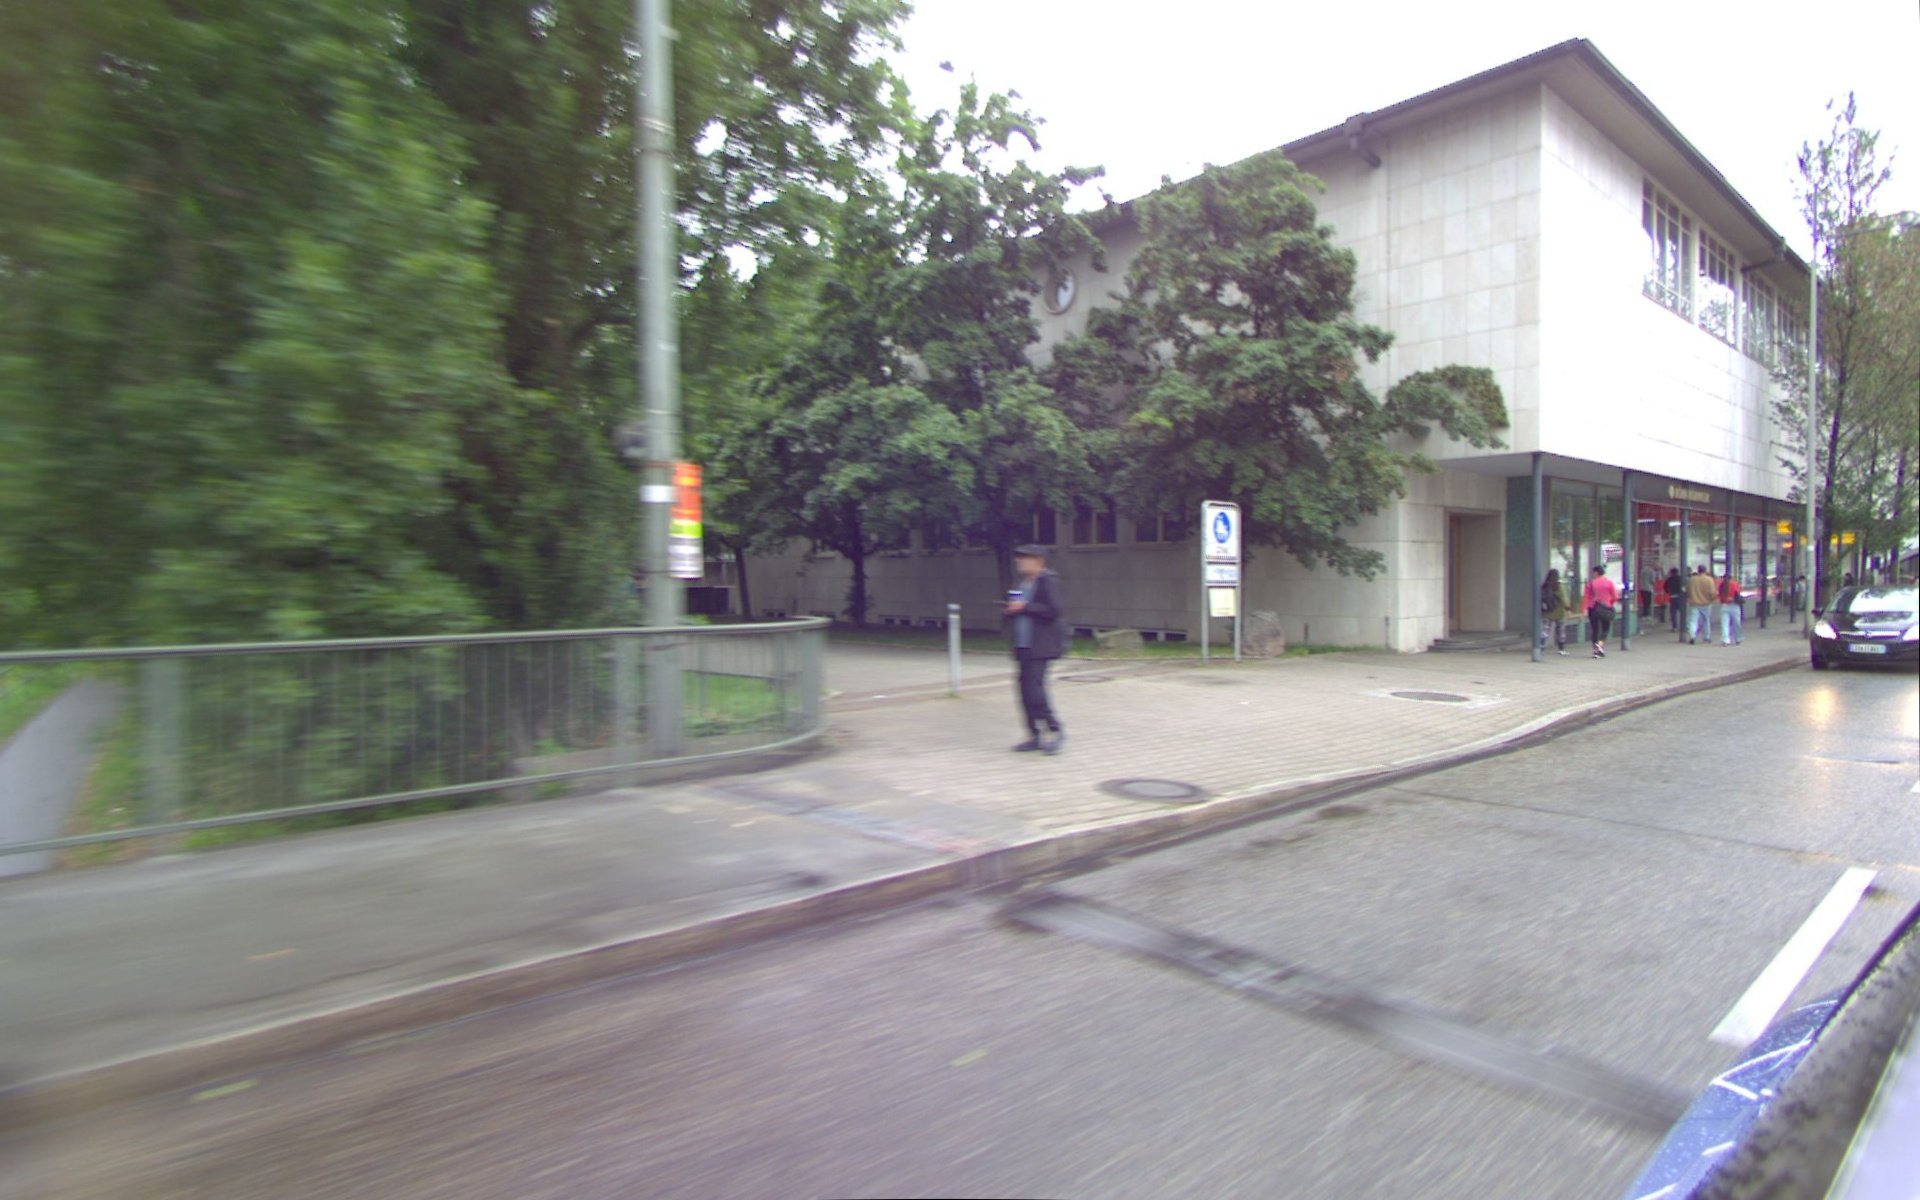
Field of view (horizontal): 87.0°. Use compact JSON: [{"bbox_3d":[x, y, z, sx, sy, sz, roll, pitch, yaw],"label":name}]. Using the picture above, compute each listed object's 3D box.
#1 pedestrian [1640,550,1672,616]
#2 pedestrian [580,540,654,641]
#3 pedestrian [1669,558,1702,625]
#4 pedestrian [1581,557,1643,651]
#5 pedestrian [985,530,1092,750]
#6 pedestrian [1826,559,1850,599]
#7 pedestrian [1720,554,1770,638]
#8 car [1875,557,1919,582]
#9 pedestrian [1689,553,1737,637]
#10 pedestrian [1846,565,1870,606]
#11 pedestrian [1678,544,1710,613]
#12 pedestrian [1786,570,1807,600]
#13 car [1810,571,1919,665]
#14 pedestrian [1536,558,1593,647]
[{"bbox_3d":[18.901,-0.470,27.495,0.524,1.740,0.539,-2,2,-31],"label":"pedestrian"},{"bbox_3d":[-7.330,-0.197,21.630,1.004,2.038,1.115,-6,2,-40],"label":"pedestrian"},{"bbox_3d":[19.171,-0.240,26.758,0.524,1.740,0.538,-2,2,-32],"label":"pedestrian"},{"bbox_3d":[11.800,0.054,18.318,0.756,1.639,0.718,-2,4,-41],"label":"pedestrian"},{"bbox_3d":[0.635,0.291,8.187,0.553,1.685,0.641,-1,2,-41],"label":"pedestrian"},{"bbox_3d":[34.395,-0.827,39.651,0.500,1.585,0.430,0,2,6],"label":"pedestrian"},{"bbox_3d":[17.216,-0.109,22.191,0.907,1.788,0.655,-2,4,-41],"label":"pedestrian"},{"bbox_3d":[58.486,-1.863,61.432,1.959,1.495,4.007,-3,2,-9],"label":"car"},{"bbox_3d":[16.852,-0.133,22.654,0.596,1.823,0.699,-2,4,-41],"label":"pedestrian"},{"bbox_3d":[35.206,-0.559,39.688,0.499,1.585,0.431,-1,2,-6],"label":"pedestrian"},{"bbox_3d":[19.865,-0.596,27.391,0.524,1.842,0.538,-2,2,-32],"label":"pedestrian"},{"bbox_3d":[32.704,-0.588,39.561,0.424,1.150,0.507,0,2,14],"label":"pedestrian"},{"bbox_3d":[16.501,0.247,17.824,3.676,1.475,1.711,-2,1,-40],"label":"car"},{"bbox_3d":[11.301,0.024,18.933,0.596,1.608,0.727,-2,4,-41],"label":"pedestrian"}]
